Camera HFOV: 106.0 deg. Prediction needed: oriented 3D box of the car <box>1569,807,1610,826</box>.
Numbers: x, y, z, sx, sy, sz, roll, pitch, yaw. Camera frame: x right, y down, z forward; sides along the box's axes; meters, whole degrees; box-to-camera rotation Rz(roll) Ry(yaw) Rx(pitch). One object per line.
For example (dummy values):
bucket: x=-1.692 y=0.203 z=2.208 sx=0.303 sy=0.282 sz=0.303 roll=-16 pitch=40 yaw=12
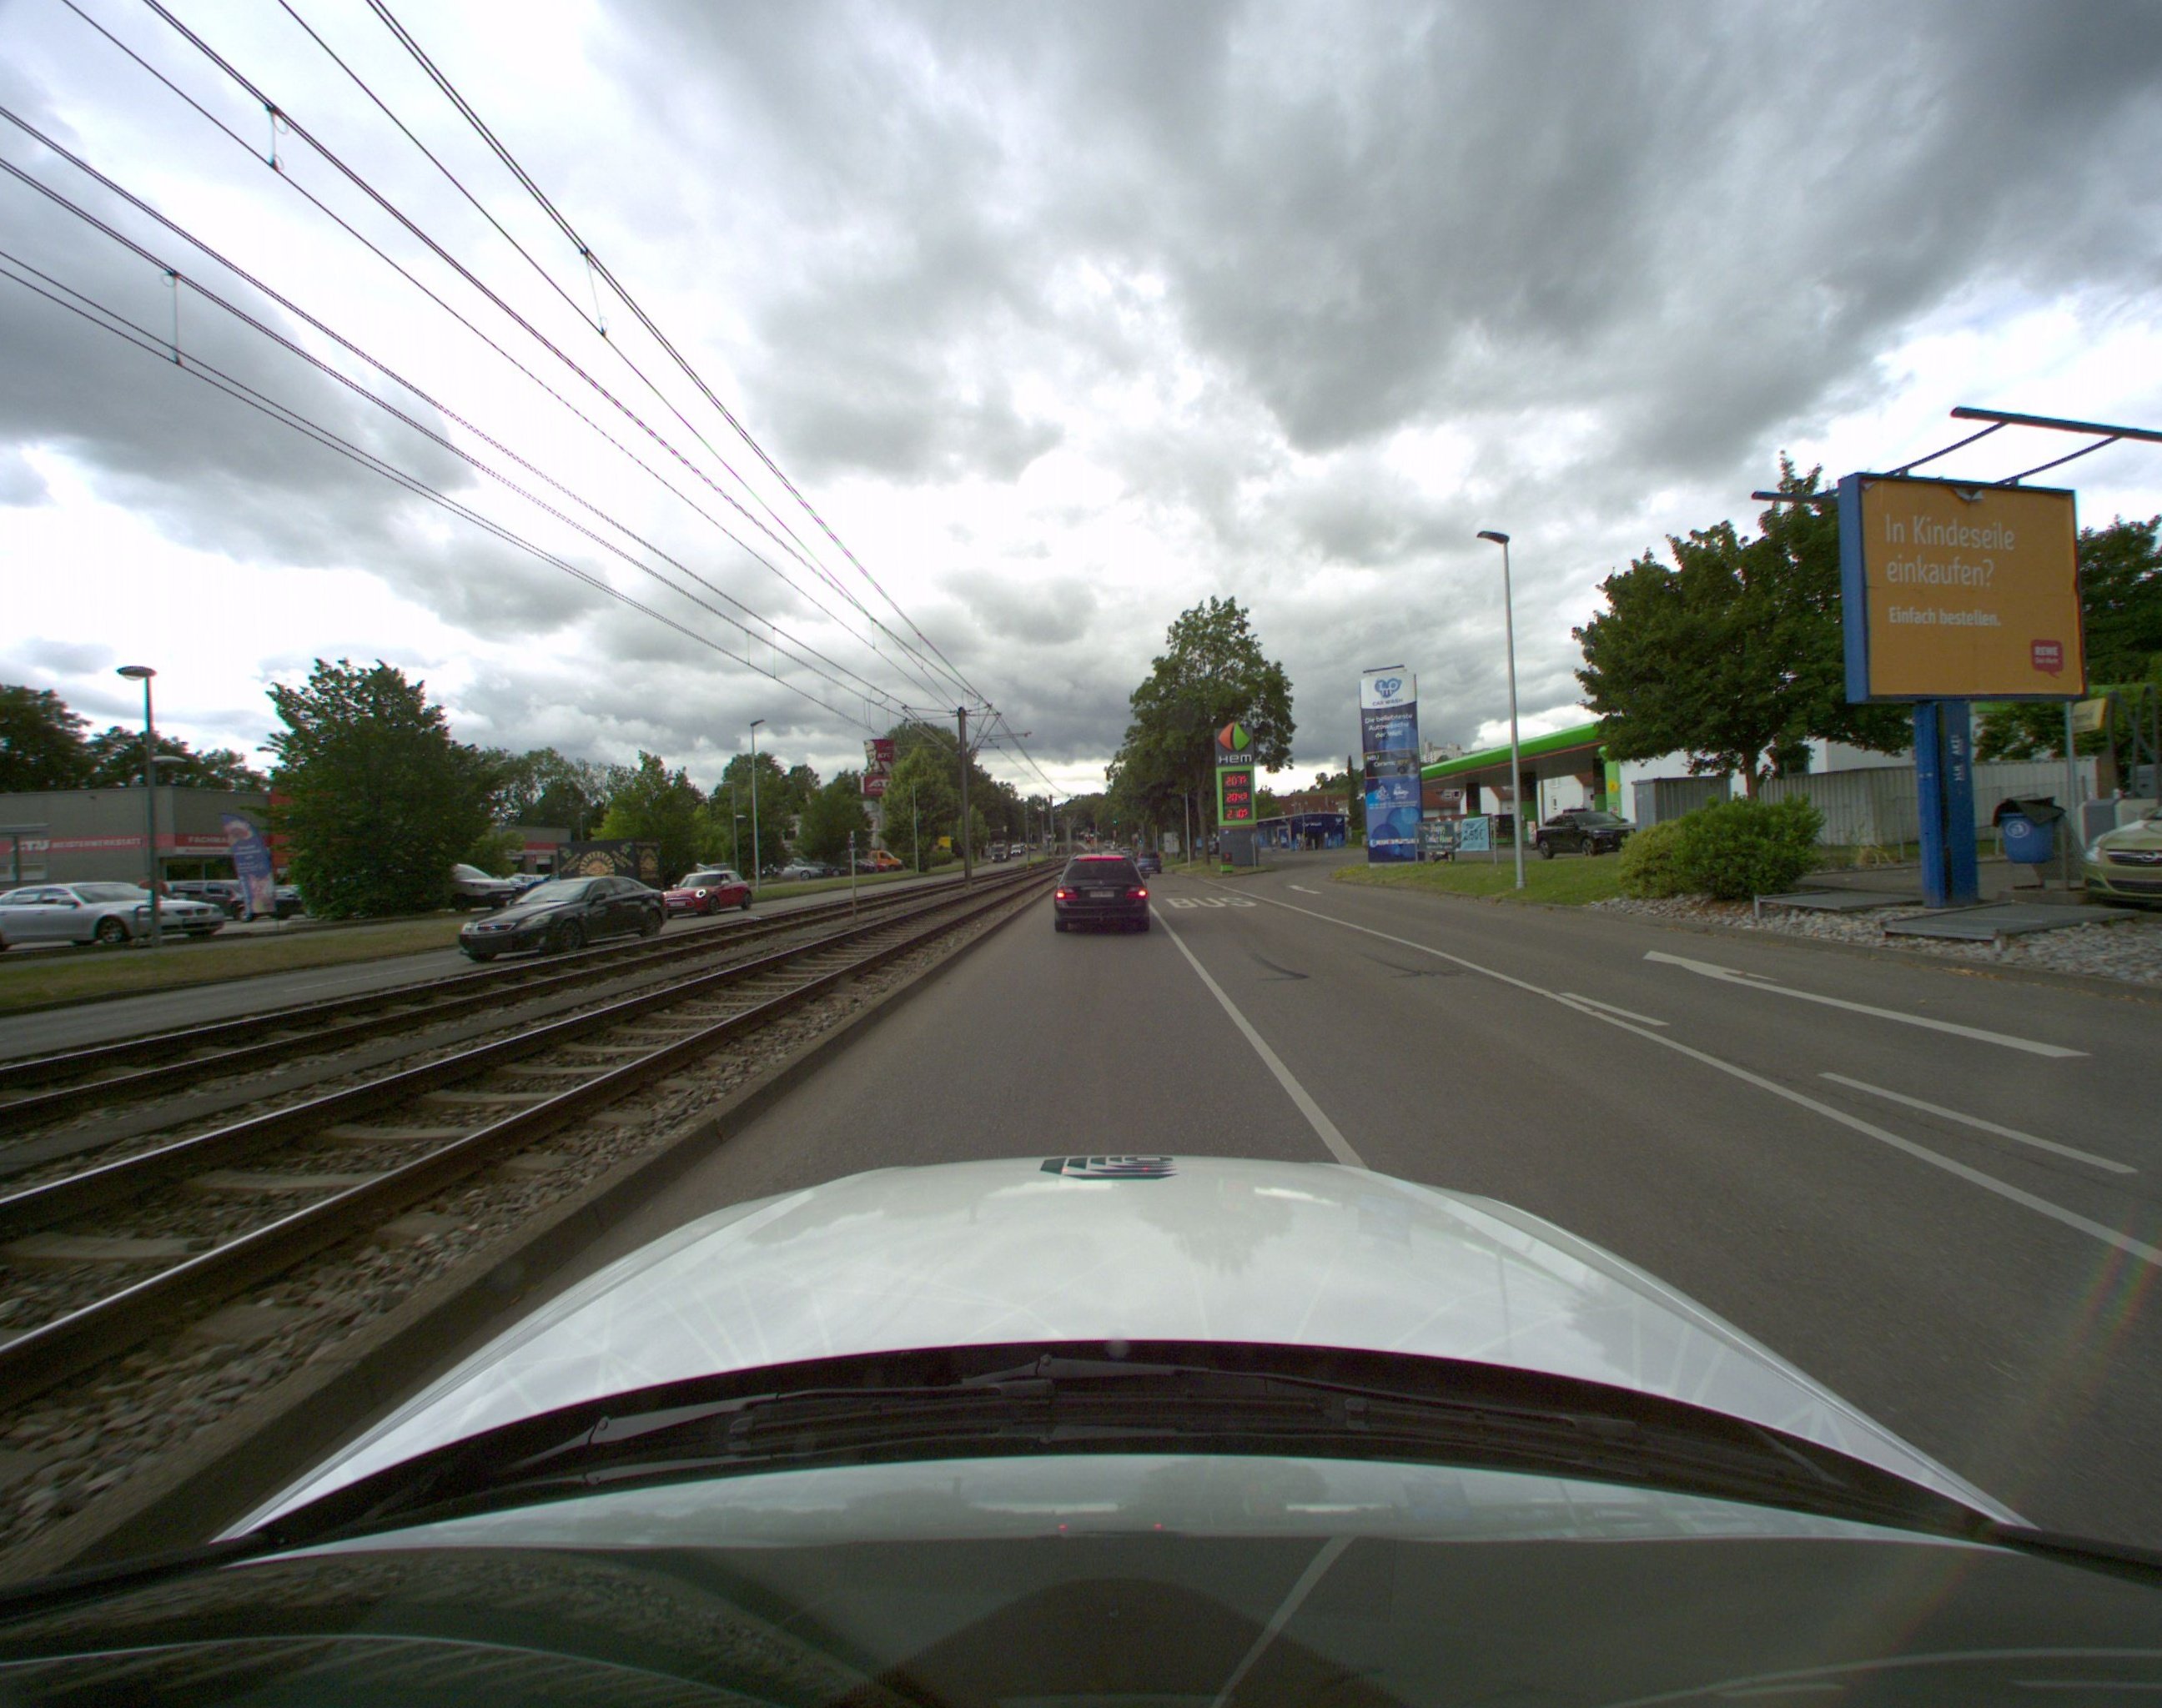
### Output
car: x=51.410 y=-3.760 z=82.348 sx=1.683 sy=1.684 sz=4.002 roll=-3 pitch=0 yaw=2

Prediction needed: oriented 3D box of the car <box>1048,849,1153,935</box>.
car: x=0.403 y=0.657 z=16.196 sx=1.802 sy=1.474 sz=3.882 roll=-1 pitch=0 yaw=2

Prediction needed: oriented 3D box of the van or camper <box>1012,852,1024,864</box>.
van or camper: x=-13.493 y=0.786 z=174.806 sx=1.987 sy=2.354 sz=5.764 roll=-3 pitch=0 yaw=0

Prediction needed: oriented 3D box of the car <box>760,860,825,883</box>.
car: x=-21.746 y=1.299 z=61.492 sx=4.294 sy=1.472 sz=1.680 roll=-2 pitch=0 yaw=-1

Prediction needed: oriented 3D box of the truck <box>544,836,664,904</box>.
truck: x=-21.850 y=0.715 z=37.486 sx=3.976 sy=2.821 sz=2.375 roll=-3 pitch=0 yaw=-1

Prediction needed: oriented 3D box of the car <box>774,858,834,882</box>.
car: x=-21.720 y=1.254 z=63.916 sx=3.978 sy=1.635 sz=1.876 roll=-3 pitch=0 yaw=-3

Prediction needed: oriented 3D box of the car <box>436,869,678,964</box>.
car: x=-10.081 y=1.118 z=16.179 sx=1.753 sy=1.401 sz=4.444 roll=-5 pitch=0 yaw=1

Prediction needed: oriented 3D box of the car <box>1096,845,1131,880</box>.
car: x=1.710 y=0.427 z=43.100 sx=1.774 sy=1.750 sz=3.719 roll=0 pitch=-1 yaw=2

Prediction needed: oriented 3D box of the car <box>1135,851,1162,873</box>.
car: x=4.378 y=0.508 z=53.296 sx=1.565 sy=1.414 sz=3.355 roll=0 pitch=-1 yaw=2

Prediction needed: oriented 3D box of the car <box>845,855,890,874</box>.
car: x=-21.405 y=1.012 z=81.851 sx=3.978 sy=1.797 sz=1.876 roll=-1 pitch=0 yaw=-3

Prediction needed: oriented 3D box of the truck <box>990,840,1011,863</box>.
truck: x=-14.002 y=-0.455 z=142.498 sx=2.699 sy=3.663 sz=11.106 roll=-3 pitch=0 yaw=-1

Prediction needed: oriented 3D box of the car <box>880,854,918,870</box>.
car: x=-21.343 y=0.953 z=95.445 sx=3.978 sy=1.599 sz=1.794 roll=-3 pitch=0 yaw=-3

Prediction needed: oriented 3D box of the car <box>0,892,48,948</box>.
car: x=-33.933 y=2.079 z=24.506 sx=3.964 sy=1.596 sz=1.697 roll=-3 pitch=0 yaw=8

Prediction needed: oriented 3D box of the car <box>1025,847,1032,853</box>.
car: x=-15.707 y=-1.165 z=243.523 sx=1.758 sy=1.647 sz=3.772 roll=-1 pitch=0 yaw=2

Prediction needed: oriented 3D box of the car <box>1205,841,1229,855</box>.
car: x=18.905 y=-0.848 z=113.344 sx=1.987 sy=1.682 sz=4.607 roll=-3 pitch=0 yaw=26

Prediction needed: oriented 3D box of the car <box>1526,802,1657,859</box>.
car: x=17.642 y=-0.744 z=28.419 sx=1.814 sy=1.674 sz=4.338 roll=-4 pitch=-1 yaw=1

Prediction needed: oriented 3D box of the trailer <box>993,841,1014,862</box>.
trailer: x=-14.122 y=-0.429 z=148.964 sx=2.697 sy=3.660 sz=13.291 roll=-3 pitch=0 yaw=-1

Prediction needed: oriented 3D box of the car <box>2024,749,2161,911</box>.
car: x=13.035 y=-0.346 z=8.173 sx=4.014 sy=1.656 sz=2.938 roll=-3 pitch=0 yaw=-8

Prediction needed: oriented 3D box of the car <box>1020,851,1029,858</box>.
car: x=-13.975 y=0.091 z=200.145 sx=1.758 sy=1.647 sz=3.772 roll=-1 pitch=0 yaw=2

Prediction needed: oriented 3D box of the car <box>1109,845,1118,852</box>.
car: x=7.683 y=-1.314 z=191.809 sx=1.986 sy=1.714 sz=4.001 roll=-3 pitch=0 yaw=2

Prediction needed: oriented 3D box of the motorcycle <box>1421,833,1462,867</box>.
motorcycle: x=15.198 y=-0.157 z=34.410 sx=0.852 sy=1.331 sz=1.991 roll=-3 pitch=0 yaw=2

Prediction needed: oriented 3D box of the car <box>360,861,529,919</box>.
car: x=-22.113 y=1.207 z=28.411 sx=4.207 sy=1.727 sz=1.995 roll=-3 pitch=0 yaw=-1

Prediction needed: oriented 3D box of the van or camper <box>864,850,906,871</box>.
van or camper: x=-20.892 y=0.674 z=86.848 sx=3.978 sy=2.135 sz=1.876 roll=-1 pitch=0 yaw=-3

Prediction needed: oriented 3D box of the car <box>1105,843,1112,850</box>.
car: x=7.271 y=-1.990 z=214.558 sx=1.986 sy=1.838 sz=4.001 roll=-1 pitch=0 yaw=1

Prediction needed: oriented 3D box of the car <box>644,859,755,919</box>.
car: x=-12.743 y=1.109 z=27.492 sx=1.786 sy=1.772 sz=3.999 roll=-2 pitch=0 yaw=0

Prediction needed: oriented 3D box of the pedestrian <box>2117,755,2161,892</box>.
pedestrian: x=13.493 y=-0.390 z=10.058 sx=0.631 sy=1.671 sz=0.584 roll=-3 pitch=0 yaw=-9

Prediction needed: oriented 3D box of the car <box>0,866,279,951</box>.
car: x=-22.498 y=1.238 z=19.081 sx=4.762 sy=1.628 sz=2.654 roll=-3 pitch=1 yaw=2

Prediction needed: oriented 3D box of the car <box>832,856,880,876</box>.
car: x=-21.079 y=1.113 z=76.444 sx=3.978 sy=1.599 sz=1.876 roll=-3 pitch=0 yaw=-3

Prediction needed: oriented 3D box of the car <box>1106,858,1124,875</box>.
car: x=2.872 y=1.047 z=68.476 sx=1.460 sy=1.414 sz=3.355 roll=0 pitch=-1 yaw=2

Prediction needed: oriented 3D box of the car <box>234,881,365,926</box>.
car: x=-33.471 y=2.090 z=34.943 sx=3.908 sy=1.639 sz=1.688 roll=-3 pitch=0 yaw=0

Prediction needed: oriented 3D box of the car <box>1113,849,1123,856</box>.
car: x=7.807 y=-0.314 z=172.153 sx=1.662 sy=1.532 sz=3.768 roll=-1 pitch=0 yaw=-2

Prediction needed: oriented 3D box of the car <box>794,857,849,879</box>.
car: x=-21.983 y=1.169 z=69.169 sx=3.978 sy=1.599 sz=1.876 roll=-3 pitch=0 yaw=-3

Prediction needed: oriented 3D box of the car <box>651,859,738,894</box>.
car: x=-22.203 y=1.269 z=46.910 sx=3.978 sy=1.797 sz=1.876 roll=-3 pitch=0 yaw=-3
